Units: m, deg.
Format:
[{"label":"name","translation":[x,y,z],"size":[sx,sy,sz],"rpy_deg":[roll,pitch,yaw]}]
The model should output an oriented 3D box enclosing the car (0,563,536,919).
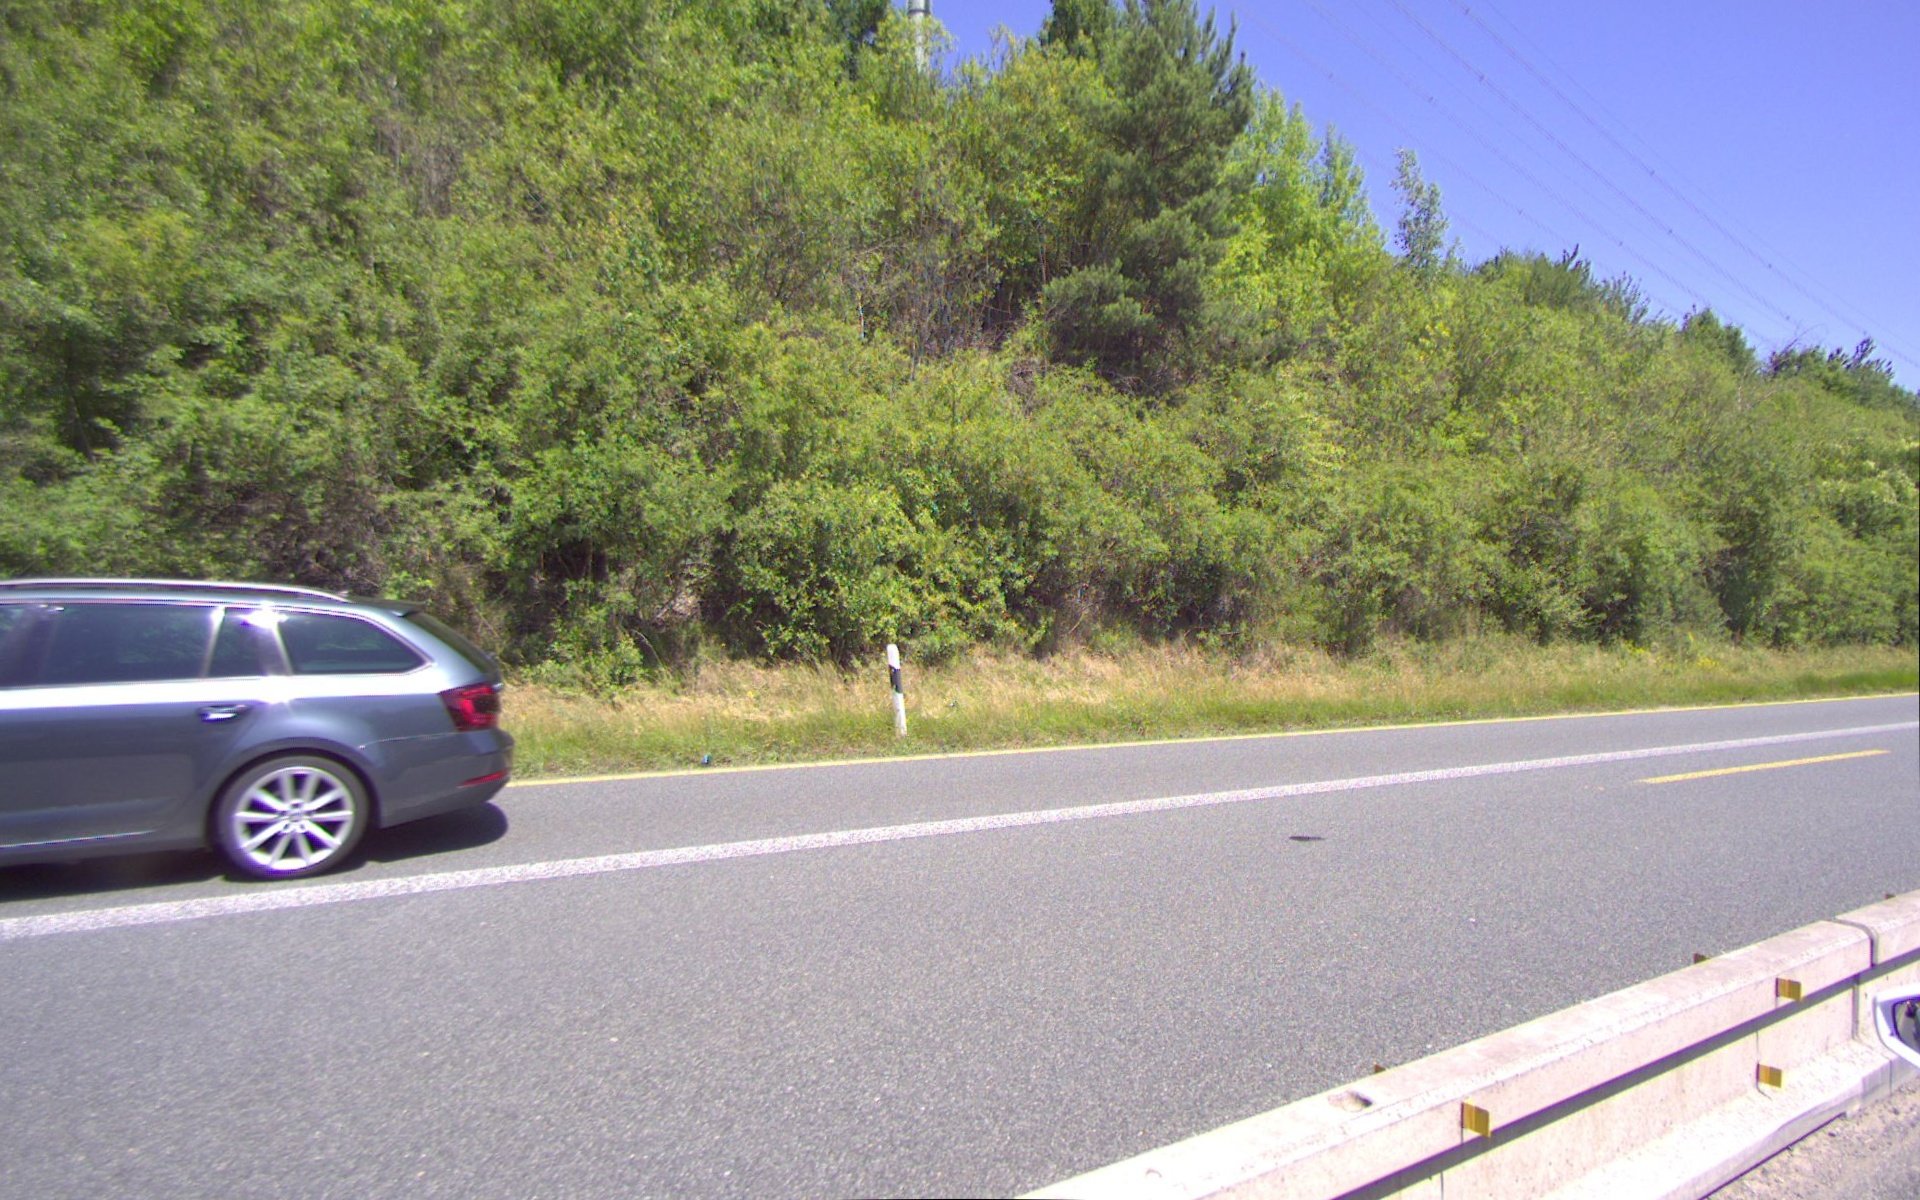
[{"label":"car","translation":[-4.506,0.601,5.123],"size":[4.135,1.542,1.715],"rpy_deg":[1,0,-30]}]
